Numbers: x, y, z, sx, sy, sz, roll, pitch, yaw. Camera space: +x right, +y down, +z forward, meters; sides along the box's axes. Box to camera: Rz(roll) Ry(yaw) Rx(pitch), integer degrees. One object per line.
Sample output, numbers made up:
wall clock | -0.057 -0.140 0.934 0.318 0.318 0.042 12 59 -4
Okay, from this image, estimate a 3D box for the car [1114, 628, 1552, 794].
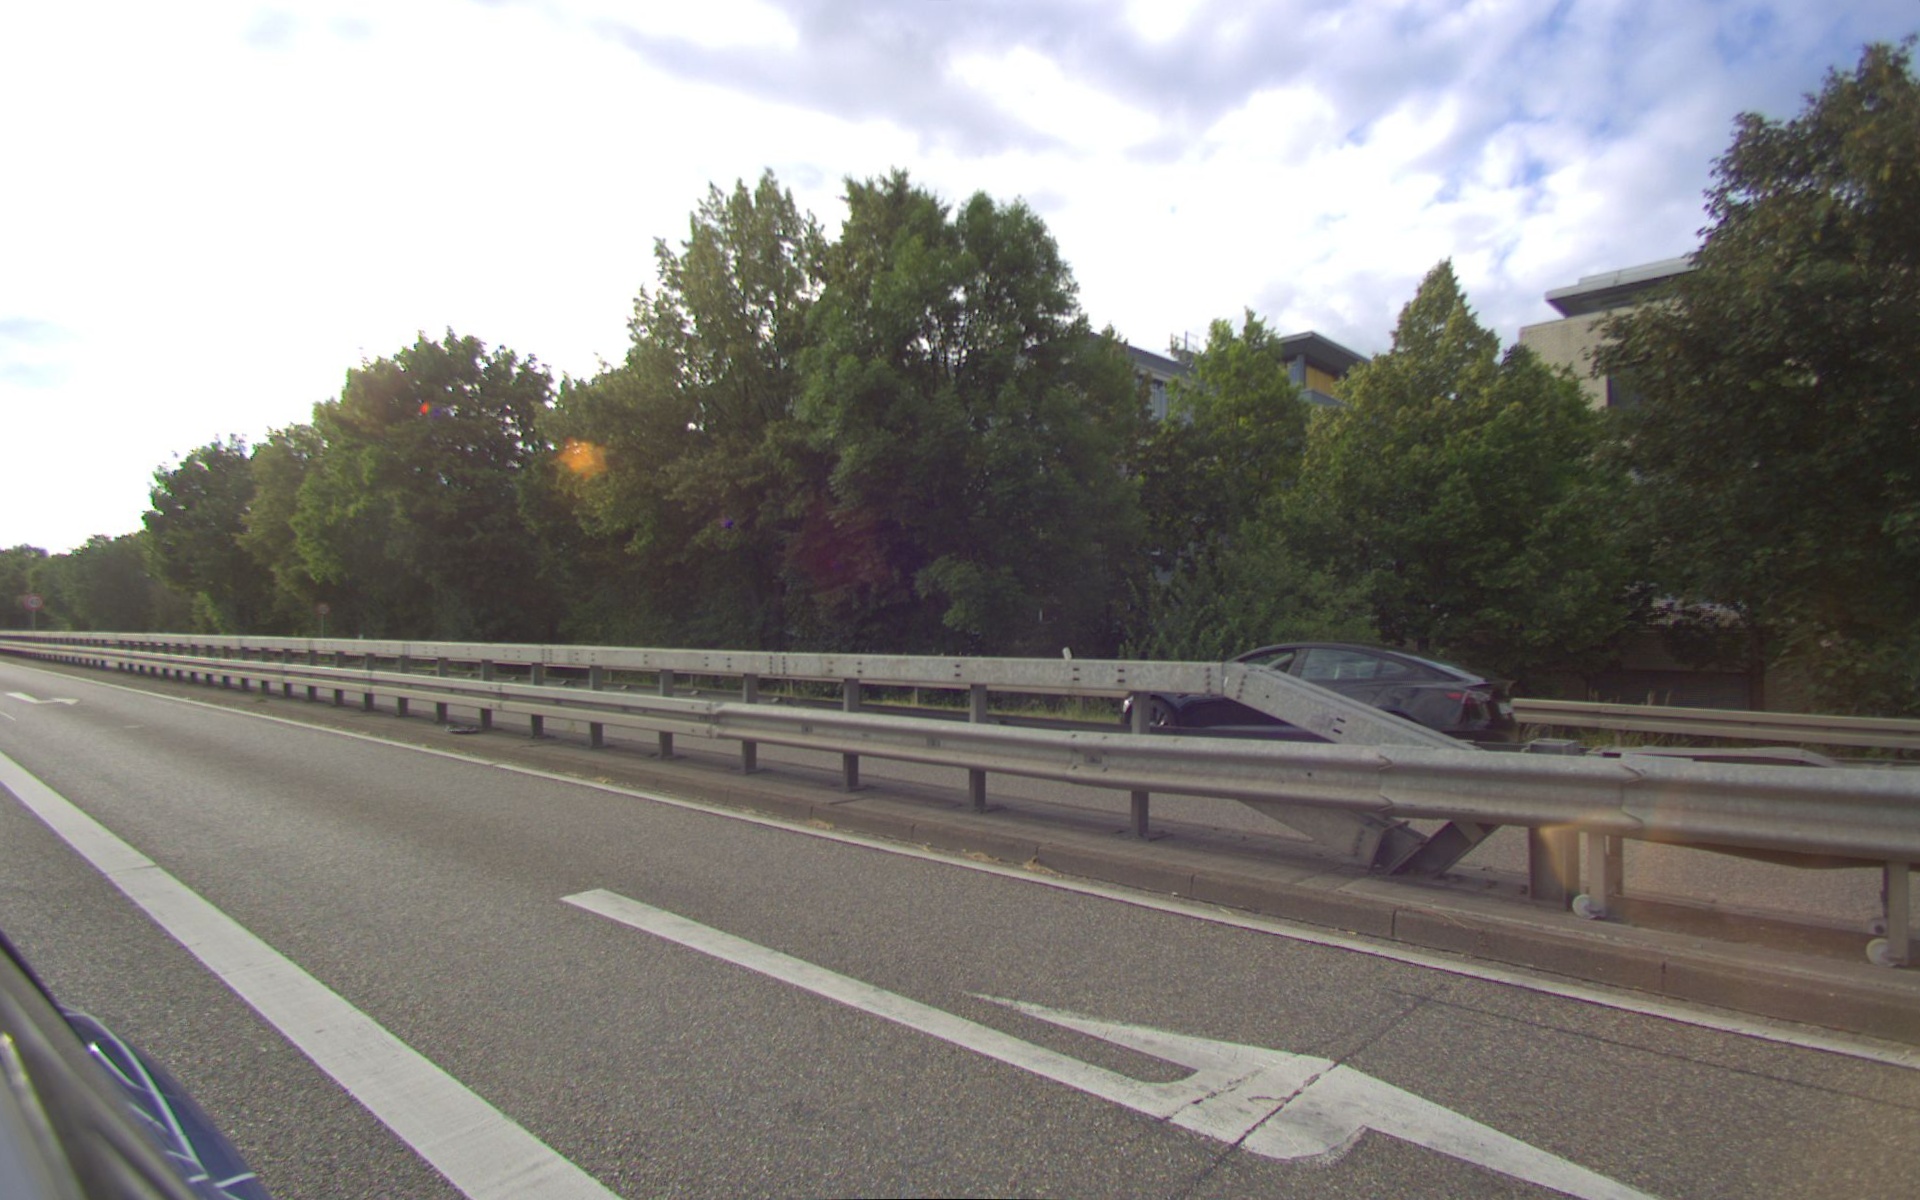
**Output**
car | 4.163 1.101 11.672 4.369 1.468 1.897 -1 0 39
